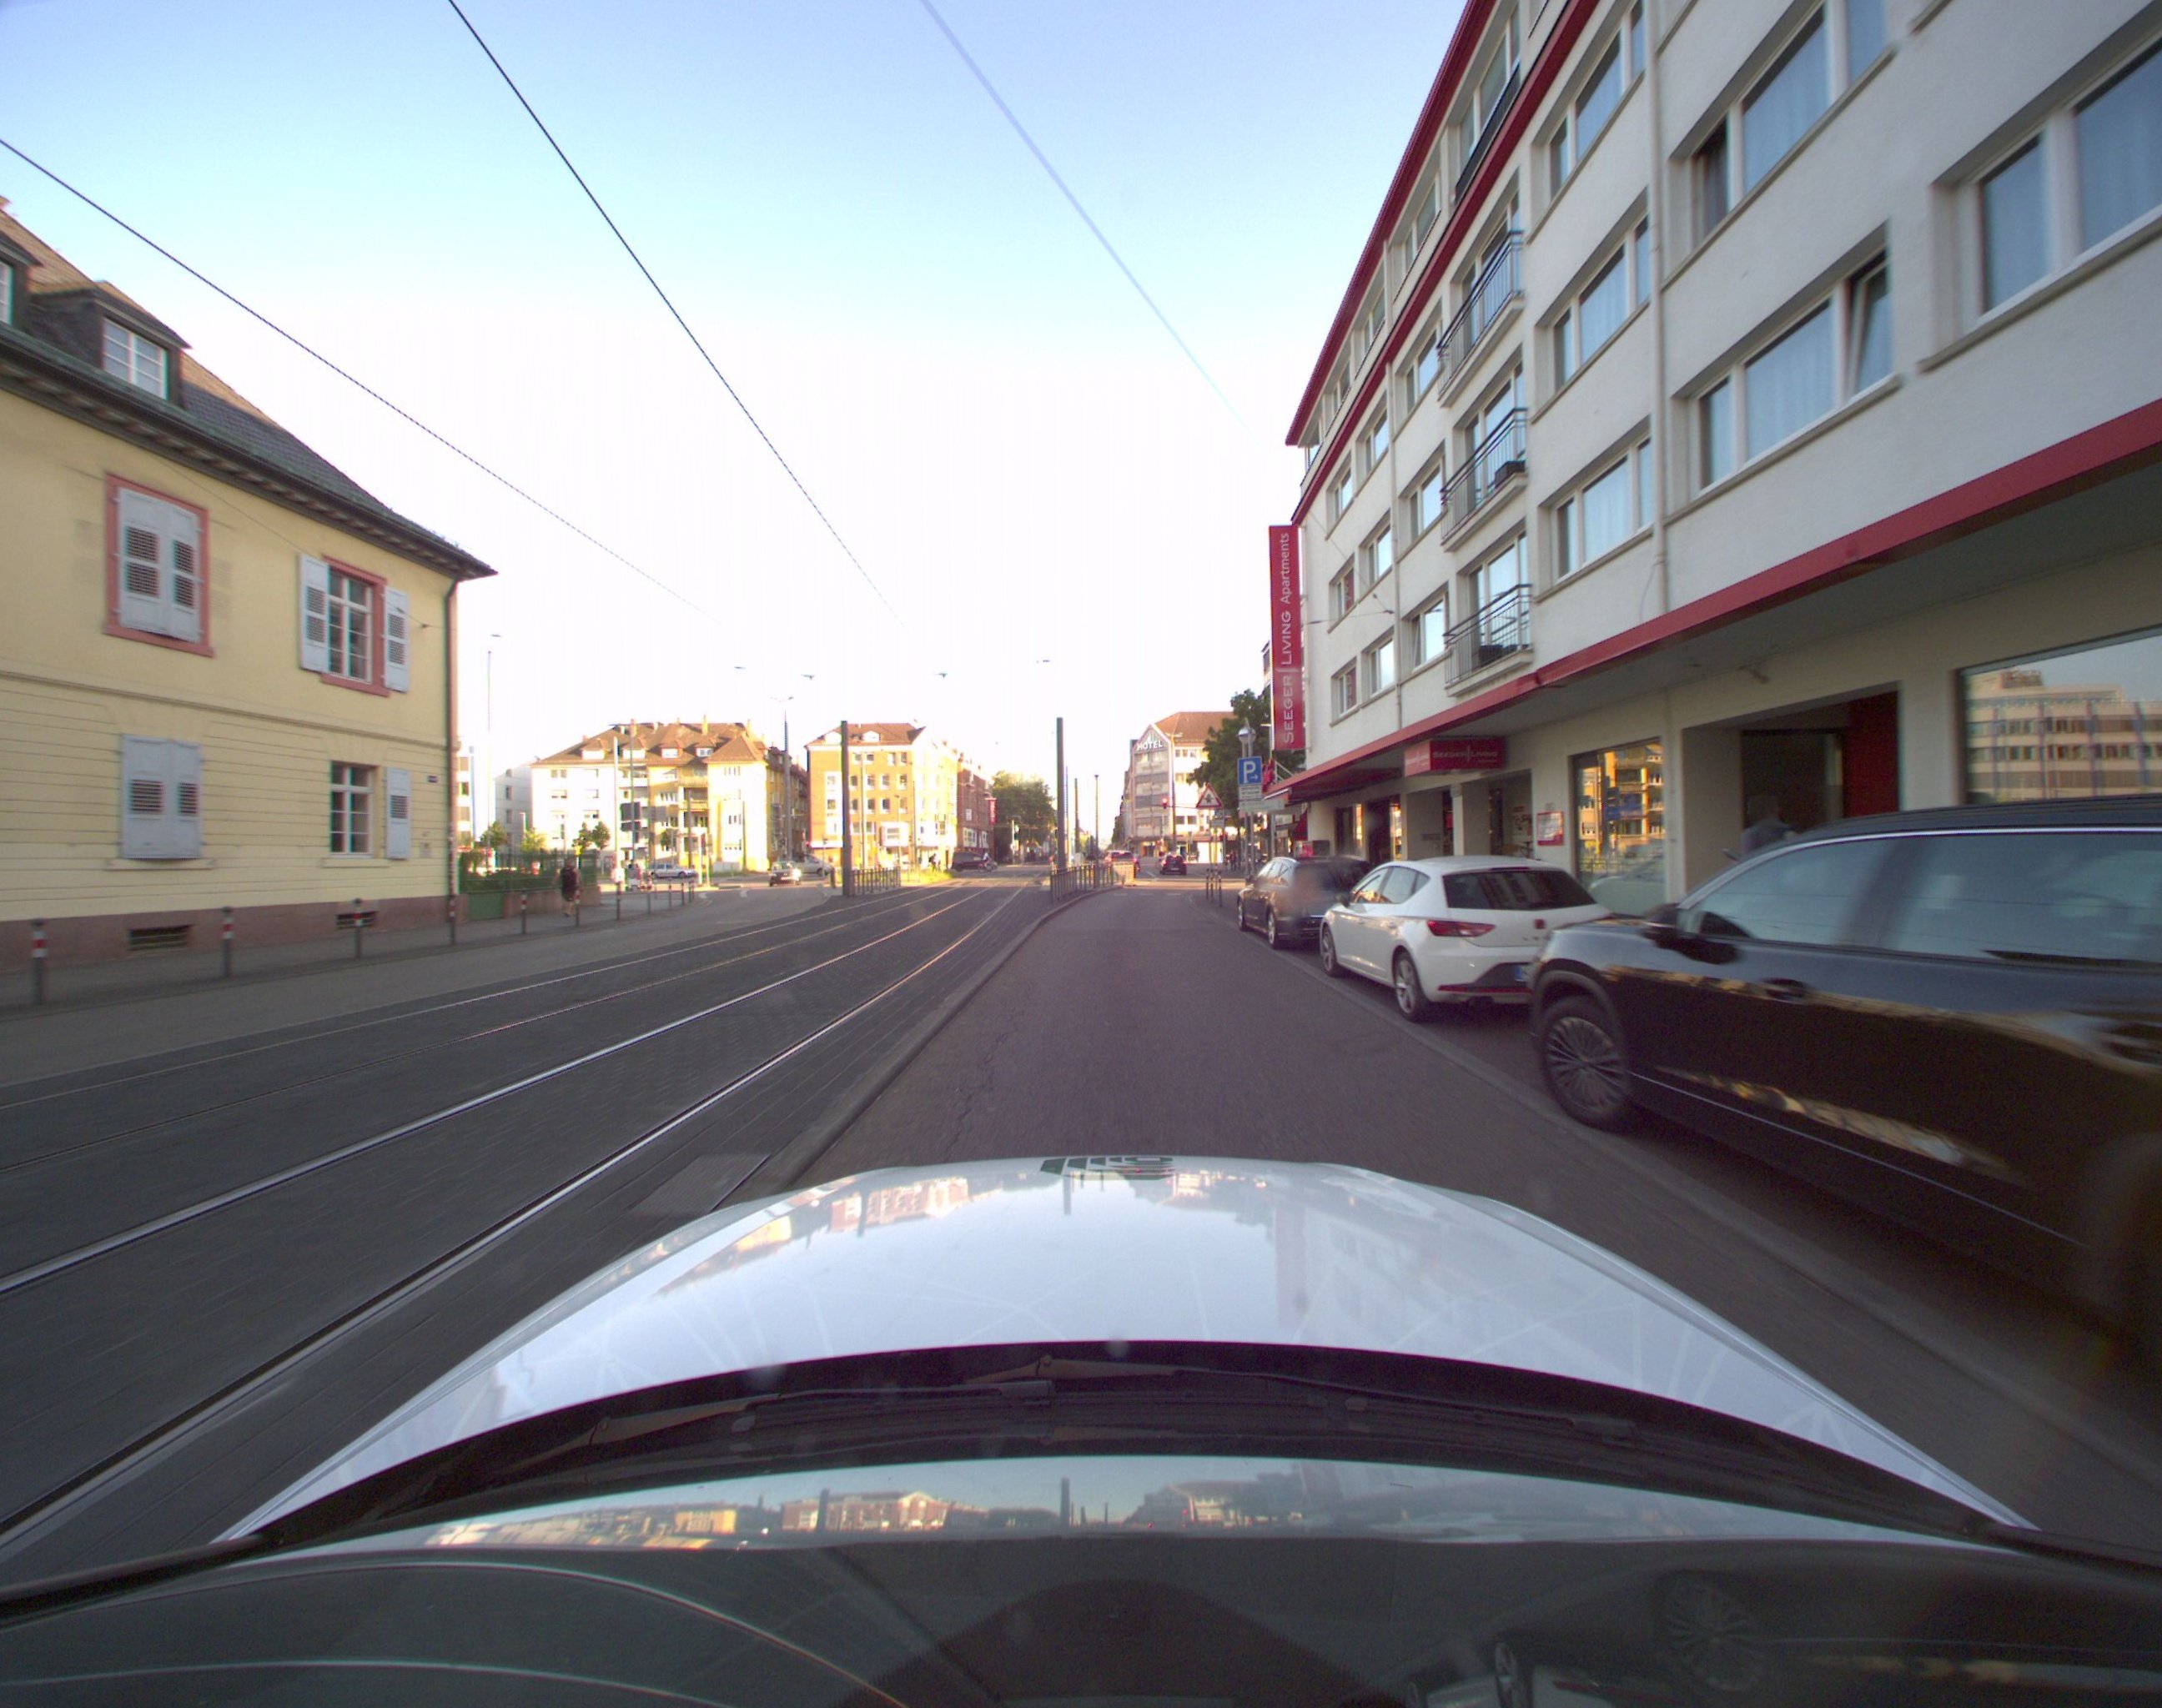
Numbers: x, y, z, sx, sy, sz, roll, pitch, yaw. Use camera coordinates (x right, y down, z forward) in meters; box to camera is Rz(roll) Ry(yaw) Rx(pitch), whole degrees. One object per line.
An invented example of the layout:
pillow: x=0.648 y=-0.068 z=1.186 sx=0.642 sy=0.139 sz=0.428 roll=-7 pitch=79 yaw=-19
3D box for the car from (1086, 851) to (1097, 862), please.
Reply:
car: x=1.803 y=0.472 z=138.870 sx=1.804 sy=1.746 sz=3.718 roll=1 pitch=0 yaw=3

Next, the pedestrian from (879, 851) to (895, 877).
pedestrian: x=-10.317 y=0.545 z=43.303 sx=0.662 sy=1.375 sz=0.651 roll=0 pitch=0 yaw=-1

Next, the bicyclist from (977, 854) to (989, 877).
bicyclist: x=-8.544 y=0.995 z=71.005 sx=0.863 sy=2.014 sz=0.642 roll=1 pitch=-1 yaw=-19

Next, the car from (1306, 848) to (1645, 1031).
car: x=3.691 y=0.685 z=8.515 sx=1.645 sy=1.421 sz=4.193 roll=1 pitch=0 yaw=2

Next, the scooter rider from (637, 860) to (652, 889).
scooter rider: x=-24.390 y=1.118 z=45.486 sx=0.586 sy=1.593 sz=0.653 roll=1 pitch=-1 yaw=-19

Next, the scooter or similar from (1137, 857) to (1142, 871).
scooter or similar: x=4.589 y=0.798 z=63.396 sx=0.278 sy=1.091 sz=1.260 roll=0 pitch=-1 yaw=8

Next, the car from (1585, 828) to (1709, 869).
car: x=25.719 y=-0.261 z=37.198 sx=4.384 sy=1.751 sz=1.931 roll=-1 pitch=2 yaw=24

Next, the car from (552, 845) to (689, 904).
car: x=-17.101 y=0.729 z=30.465 sx=3.993 sy=2.013 sz=1.990 roll=-1 pitch=0 yaw=-15

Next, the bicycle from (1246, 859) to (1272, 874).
bicycle: x=11.835 y=0.811 z=54.185 sx=1.648 sy=0.974 sz=0.387 roll=0 pitch=-1 yaw=8

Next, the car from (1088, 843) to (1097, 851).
car: x=2.933 y=-1.711 z=205.131 sx=1.985 sy=1.901 sz=4.003 roll=1 pitch=0 yaw=3

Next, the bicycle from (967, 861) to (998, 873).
bicycle: x=-8.532 y=1.139 z=70.918 sx=2.647 sy=1.099 sz=0.433 roll=1 pitch=-1 yaw=-18

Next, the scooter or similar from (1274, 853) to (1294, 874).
scooter or similar: x=12.112 y=0.572 z=48.589 sx=0.296 sy=1.218 sz=1.206 roll=1 pitch=-3 yaw=-42

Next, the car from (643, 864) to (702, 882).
car: x=-37.118 y=1.749 z=74.140 sx=4.332 sy=1.551 sz=1.996 roll=0 pitch=0 yaw=-6

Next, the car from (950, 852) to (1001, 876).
car: x=-9.749 y=0.930 z=75.239 sx=4.561 sy=2.037 sz=1.993 roll=-2 pitch=0 yaw=-11

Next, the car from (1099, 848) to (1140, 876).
car: x=2.374 y=0.508 z=50.927 sx=1.834 sy=1.636 sz=4.079 roll=-1 pitch=0 yaw=-8

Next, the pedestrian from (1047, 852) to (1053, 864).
pedestrian: x=-4.461 y=0.608 z=118.385 sx=0.802 sy=1.823 sz=0.703 roll=1 pitch=-1 yaw=1

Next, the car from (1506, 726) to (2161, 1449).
car: x=3.498 y=0.562 z=2.827 sx=1.849 sy=1.701 sz=4.419 roll=1 pitch=0 yaw=1

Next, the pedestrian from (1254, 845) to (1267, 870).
pedestrian: x=13.199 y=0.250 z=59.970 sx=0.743 sy=1.778 sz=0.974 roll=1 pitch=-1 yaw=3

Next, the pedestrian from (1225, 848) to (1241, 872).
pedestrian: x=10.966 y=0.447 z=58.604 sx=0.823 sy=1.685 sz=1.045 roll=1 pitch=-1 yaw=-10

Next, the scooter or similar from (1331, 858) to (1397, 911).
scooter or similar: x=6.639 y=0.706 z=19.134 sx=0.337 sy=1.194 sz=1.420 roll=-2 pitch=0 yaw=-45

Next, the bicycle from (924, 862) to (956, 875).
bicycle: x=-12.085 y=1.236 z=69.784 sx=2.647 sy=1.099 sz=0.433 roll=1 pitch=-1 yaw=-18

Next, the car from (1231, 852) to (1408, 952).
car: x=3.844 y=0.697 z=13.979 sx=1.783 sy=1.413 sz=4.689 roll=1 pitch=0 yaw=2

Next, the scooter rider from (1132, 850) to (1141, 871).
scooter rider: x=4.303 y=0.502 z=63.288 sx=0.658 sy=1.647 sz=0.663 roll=0 pitch=-1 yaw=10

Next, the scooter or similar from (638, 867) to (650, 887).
scooter or similar: x=-24.203 y=1.282 z=45.098 sx=0.427 sy=1.063 sz=1.611 roll=1 pitch=-1 yaw=-23

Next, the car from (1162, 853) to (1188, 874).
car: x=6.673 y=0.661 z=58.138 sx=1.755 sy=1.440 sz=4.007 roll=-1 pitch=0 yaw=6

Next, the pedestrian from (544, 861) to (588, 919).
pedestrian: x=-14.126 y=0.971 z=22.341 sx=0.717 sy=1.536 sz=0.718 roll=-1 pitch=-1 yaw=-3

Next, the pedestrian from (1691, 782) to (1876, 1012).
pedestrian: x=6.156 y=0.355 z=7.197 sx=0.772 sy=1.880 sz=0.934 roll=-2 pitch=-1 yaw=0

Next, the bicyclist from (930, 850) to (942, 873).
bicyclist: x=-12.411 y=0.649 z=69.627 sx=0.862 sy=2.014 sz=0.643 roll=1 pitch=-1 yaw=-18

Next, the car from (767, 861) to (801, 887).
car: x=-17.382 y=1.133 z=47.521 sx=1.774 sy=1.376 sz=4.192 roll=-1 pitch=0 yaw=-22

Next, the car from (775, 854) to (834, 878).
car: x=-24.364 y=1.048 z=71.894 sx=4.684 sy=2.013 sz=1.993 roll=-1 pitch=0 yaw=-11

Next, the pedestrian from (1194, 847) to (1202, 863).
pedestrian: x=12.837 y=0.106 z=89.505 sx=0.743 sy=1.778 sz=0.801 roll=1 pitch=-1 yaw=4

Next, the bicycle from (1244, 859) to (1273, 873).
bicycle: x=11.616 y=0.760 z=53.226 sx=1.807 sy=0.891 sz=0.416 roll=0 pitch=-1 yaw=8

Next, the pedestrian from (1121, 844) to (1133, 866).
pedestrian: x=3.792 y=0.088 z=67.347 sx=0.990 sy=1.830 sz=0.729 roll=1 pitch=-1 yaw=2
